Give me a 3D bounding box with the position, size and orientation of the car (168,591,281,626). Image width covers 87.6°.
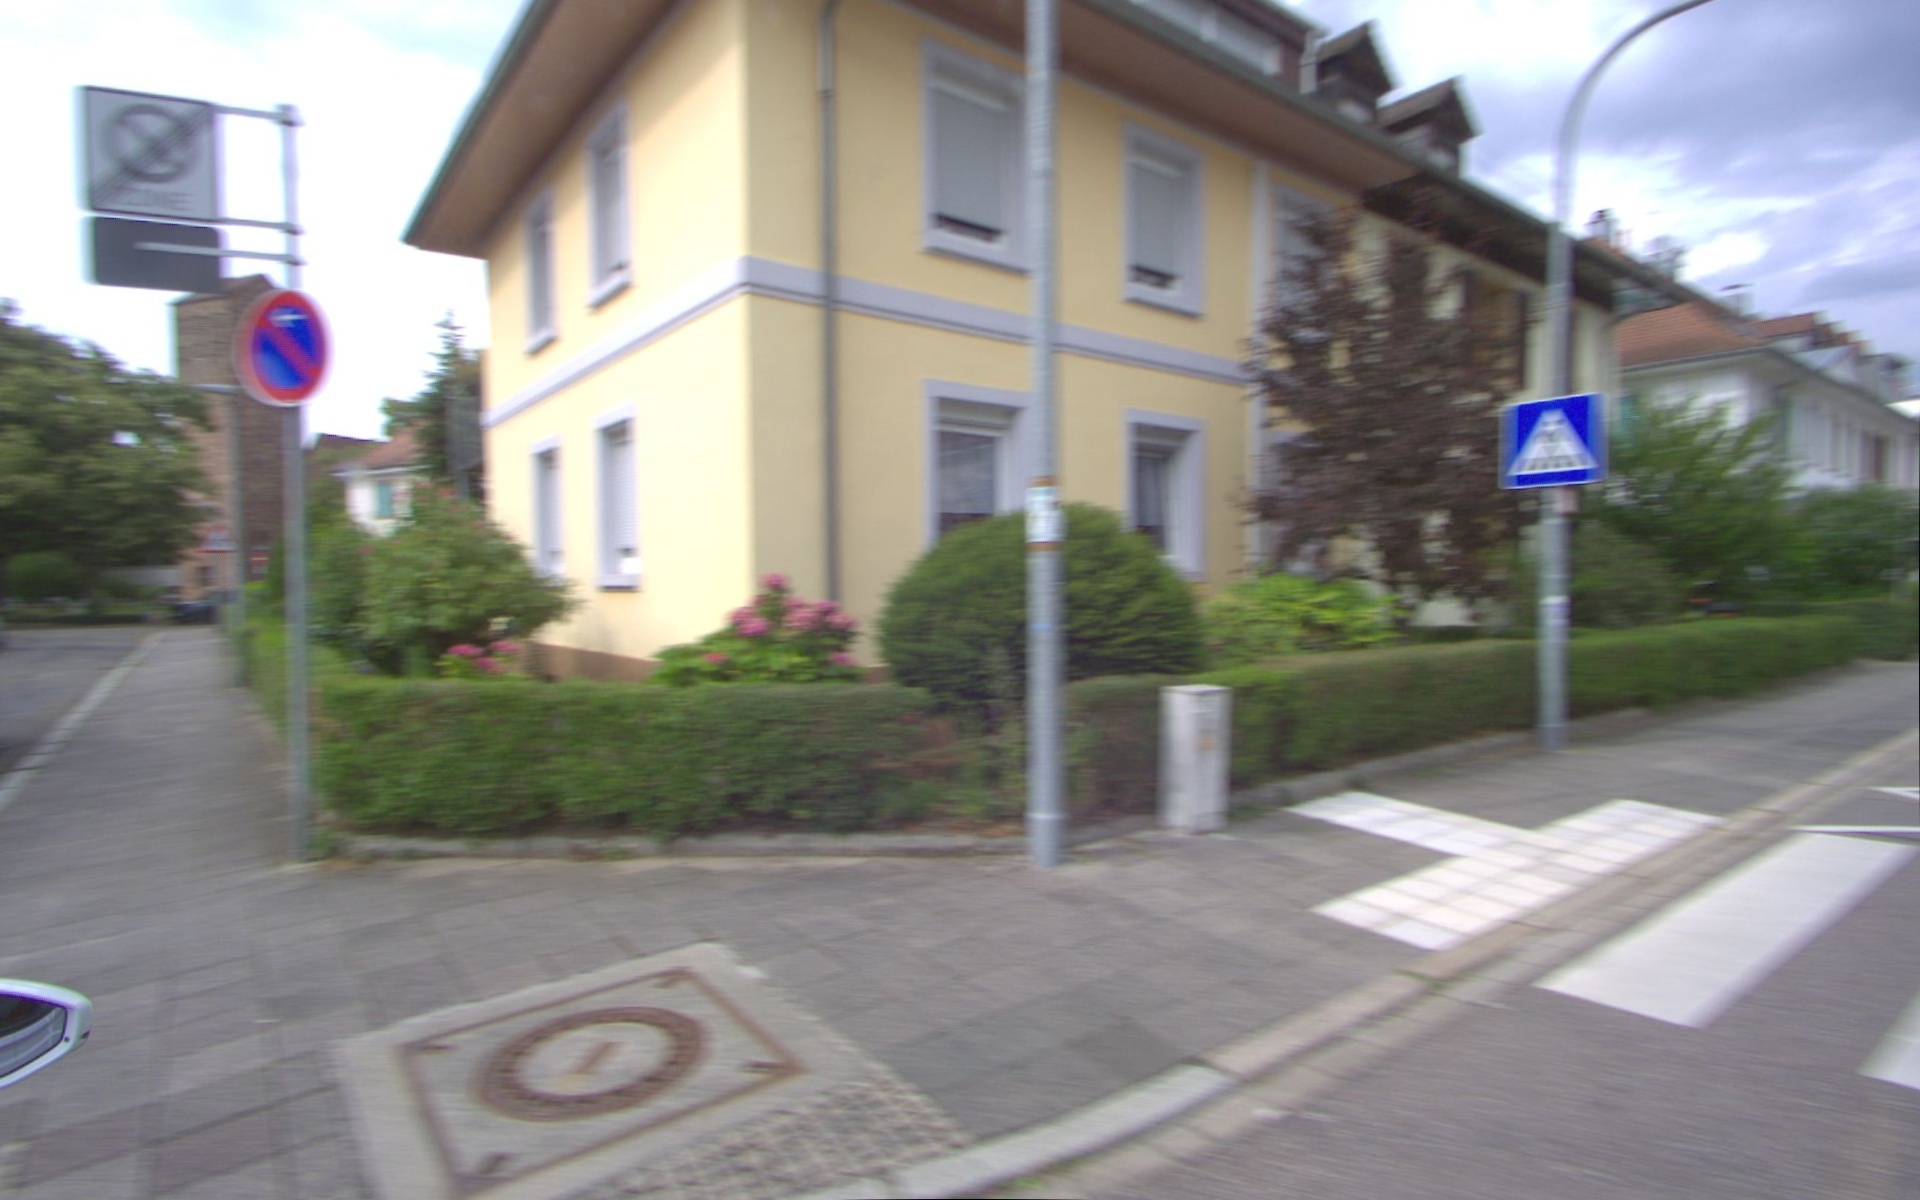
[{"bbox_3d":[-34.348,0.365,46.820,4.177,1.484,1.670,-1,3,-38],"label":"car"}]

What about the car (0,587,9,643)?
[{"bbox_3d":[-26.371,0.447,26.243,1.630,1.516,3.453,-5,4,-38],"label":"car"}]

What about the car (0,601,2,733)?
[{"bbox_3d":[-10.374,0.750,9.200,1.833,1.500,4.009,1,0,-38],"label":"car"}]
